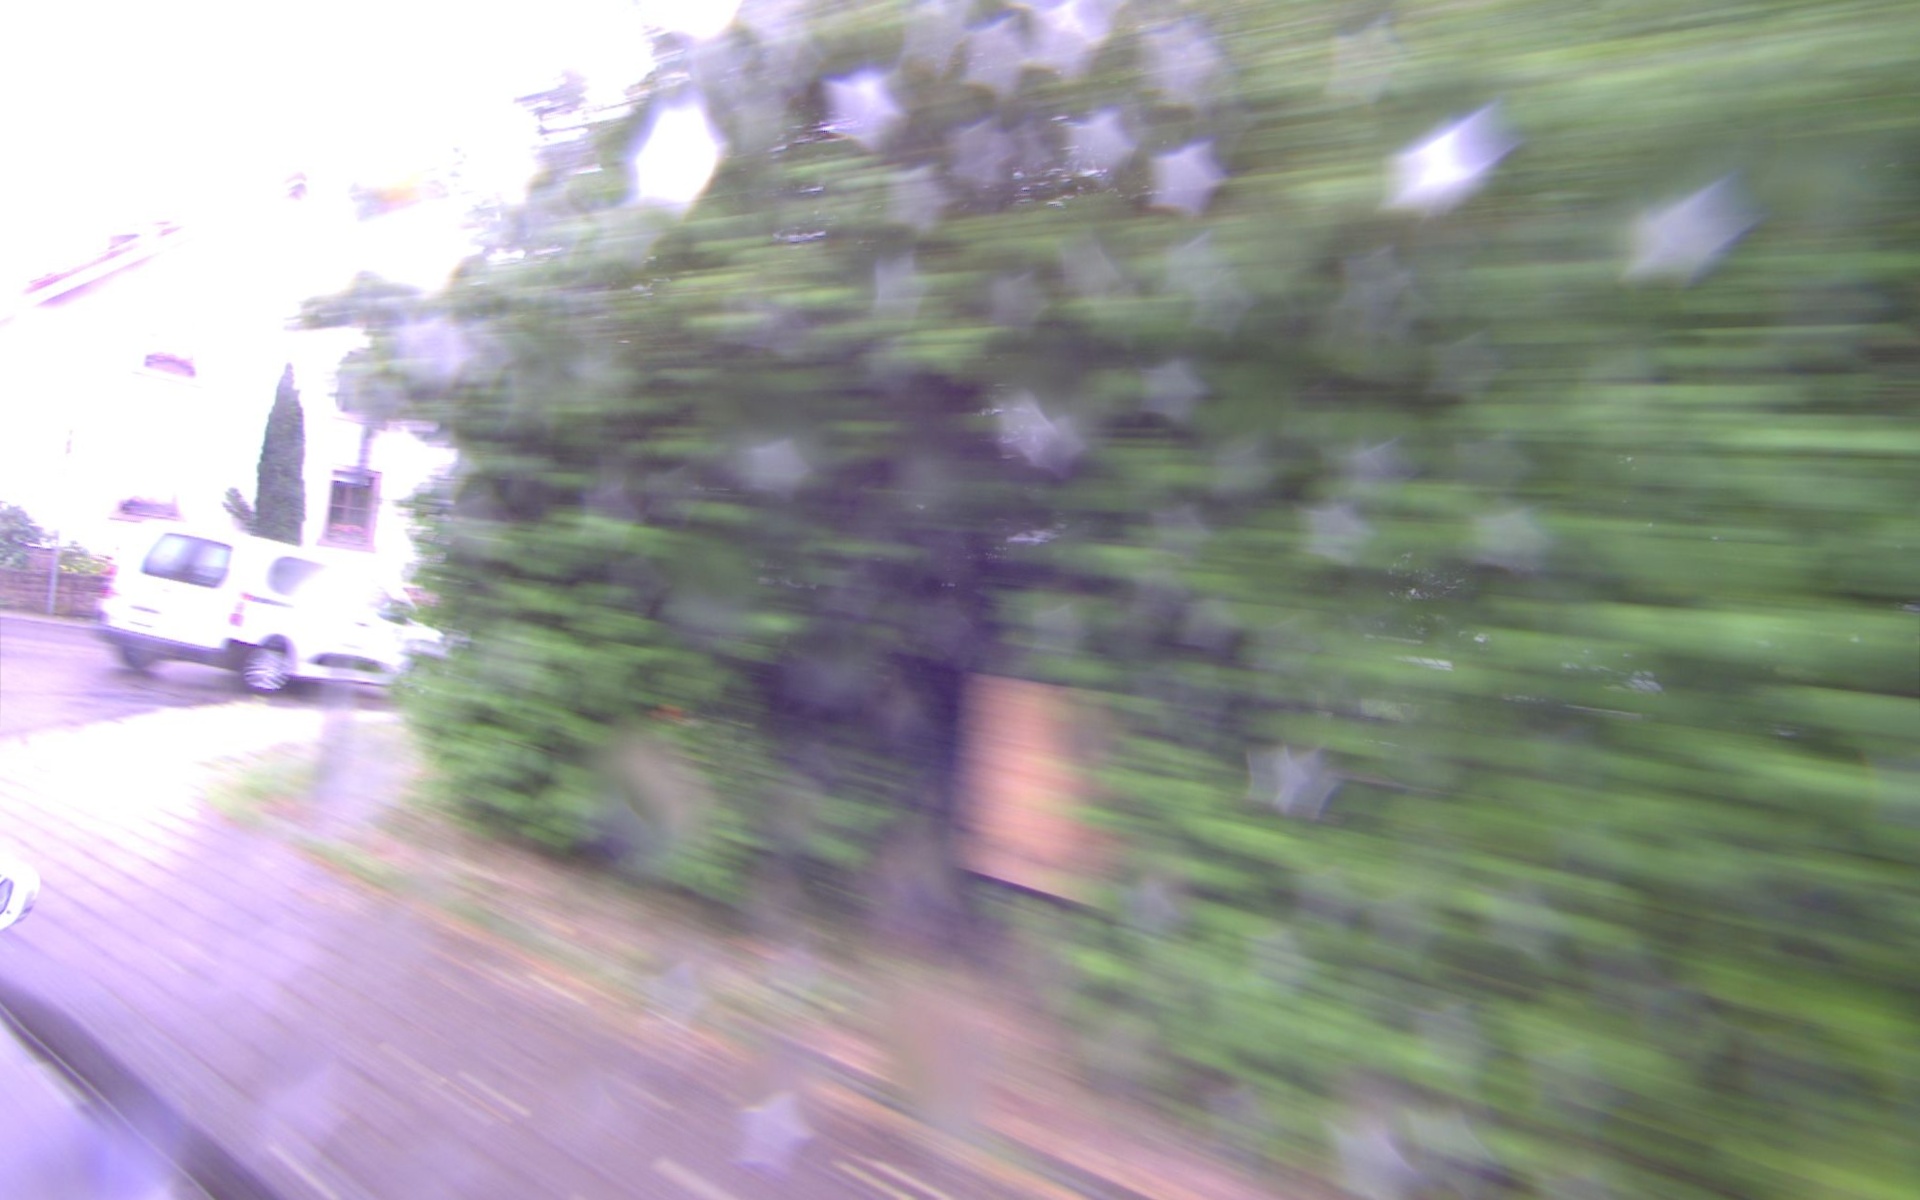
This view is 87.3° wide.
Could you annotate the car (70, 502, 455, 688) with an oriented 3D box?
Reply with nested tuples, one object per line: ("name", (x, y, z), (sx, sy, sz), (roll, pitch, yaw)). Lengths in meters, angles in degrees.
("car", (-8.786, 0.001, 13.198), (1.867, 1.828, 4.002), (8, -1, 4))
